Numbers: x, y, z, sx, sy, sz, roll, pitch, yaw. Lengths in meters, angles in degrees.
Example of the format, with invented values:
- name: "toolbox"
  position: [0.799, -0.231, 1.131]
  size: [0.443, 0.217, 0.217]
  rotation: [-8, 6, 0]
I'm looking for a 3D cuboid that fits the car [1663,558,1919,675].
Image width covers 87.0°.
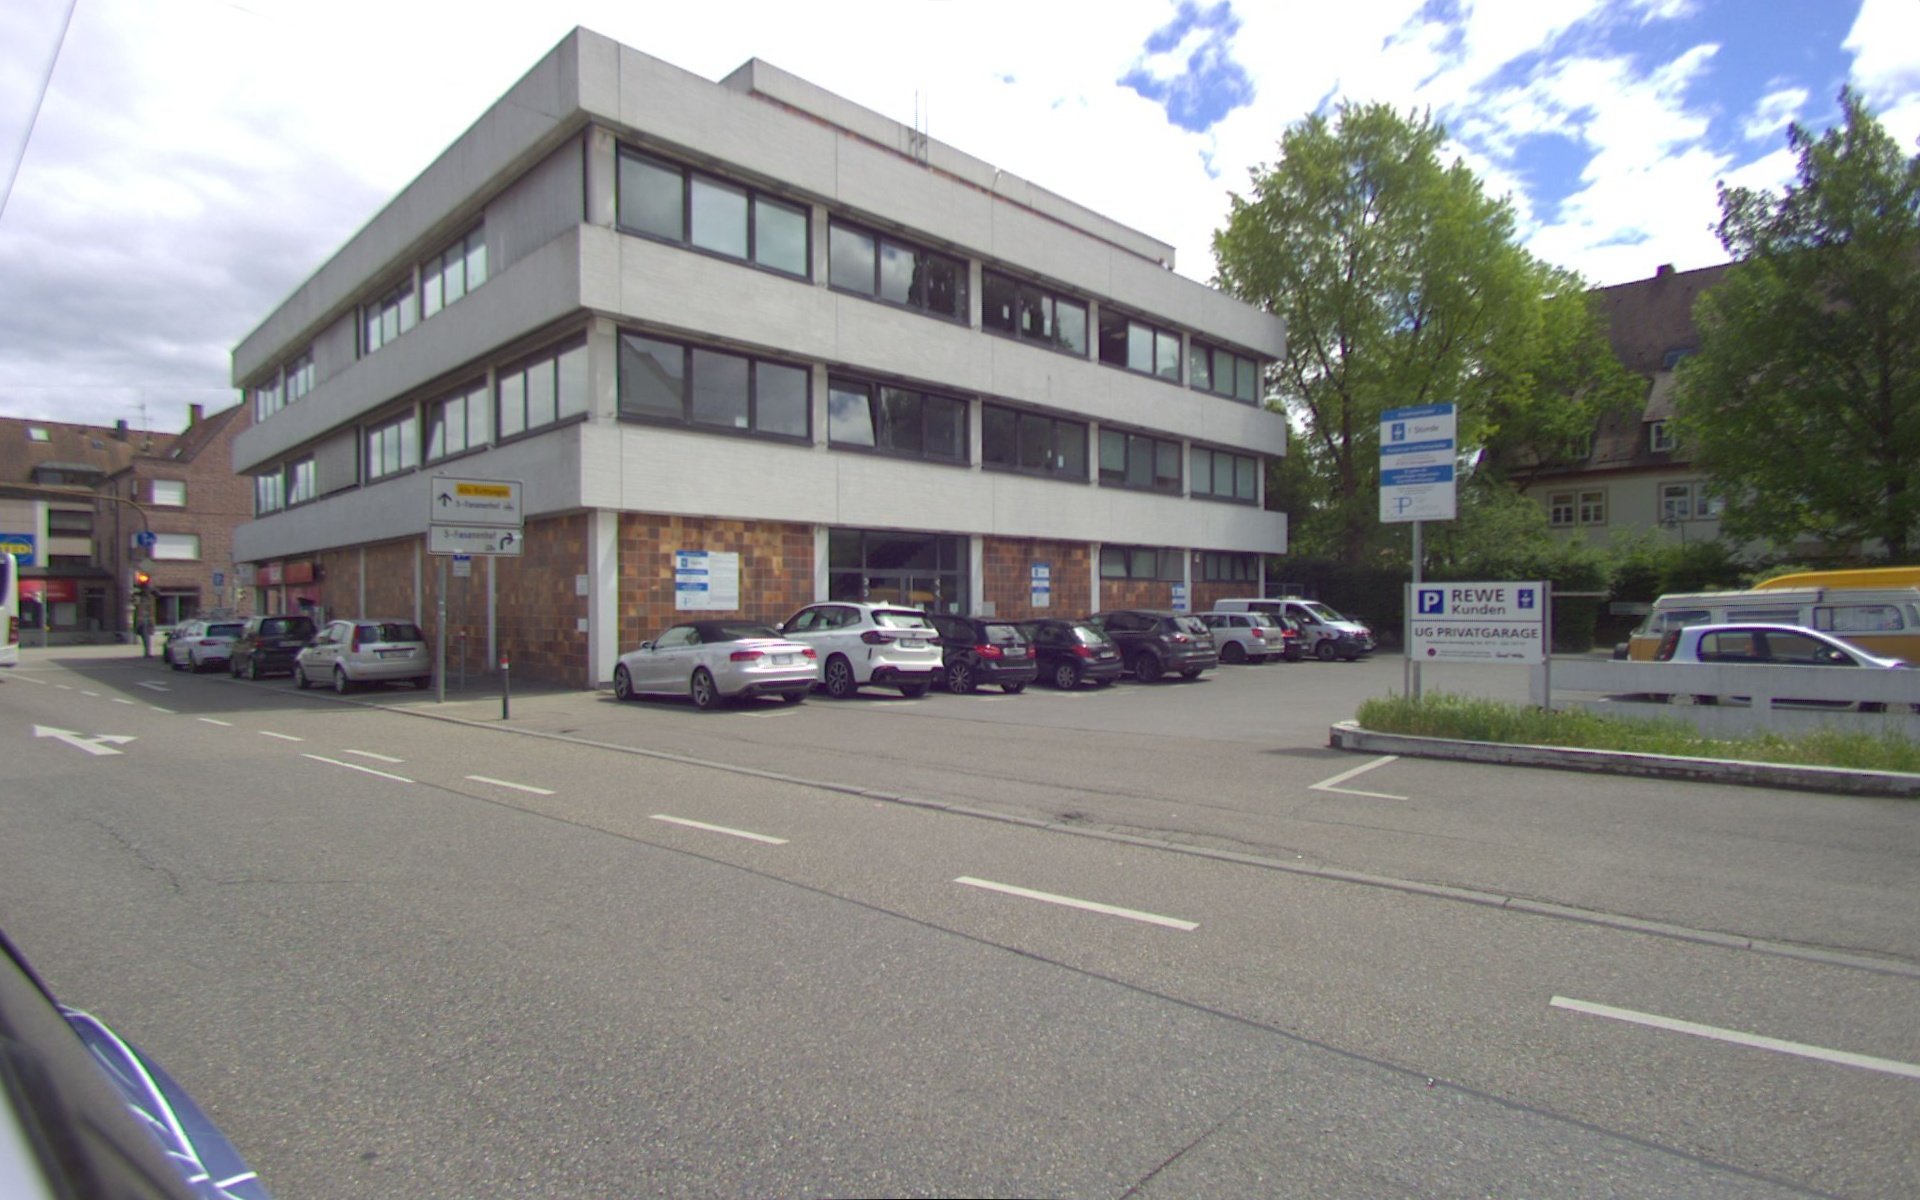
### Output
- name: "car"
  position: [20.412, 0.423, 23.950]
  size: [5.977, 2.549, 2.039]
  rotation: [-1, -3, 43]

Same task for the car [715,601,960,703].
- name: "car"
  position: [-2.386, 0.942, 18.698]
  size: [1.928, 1.632, 4.933]
  rotation: [4, -4, -43]

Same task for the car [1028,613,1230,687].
- name: "car"
  position: [3.962, 1.159, 24.305]
  size: [4.497, 1.590, 1.900]
  rotation: [-2, -2, 44]

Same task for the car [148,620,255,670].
- name: "car"
  position: [-25.055, 1.449, 33.382]
  size: [4.283, 1.486, 2.023]
  rotation: [-2, 0, 42]

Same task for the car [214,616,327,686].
- name: "car"
  position: [-17.246, 1.231, 25.269]
  size: [3.057, 1.567, 1.717]
  rotation: [-2, 0, 43]

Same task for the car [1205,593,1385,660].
- name: "car"
  position: [10.545, 0.818, 32.183]
  size: [1.945, 1.956, 5.092]
  rotation: [0, -1, -44]

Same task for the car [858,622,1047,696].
- name: "car"
  position: [-0.207, 1.138, 20.524]
  size: [3.604, 1.341, 1.744]
  rotation: [-1, -1, 42]

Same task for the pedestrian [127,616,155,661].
- name: "pedestrian"
  position: [-30.801, 1.437, 38.058]
  size: [0.682, 1.657, 0.709]
  rotation: [-2, 0, 45]

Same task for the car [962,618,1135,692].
- name: "car"
  position: [1.962, 1.196, 23.052]
  size: [3.604, 1.558, 1.744]
  rotation: [-1, -2, 42]

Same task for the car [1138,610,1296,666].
- name: "car"
  position: [7.269, 1.053, 28.841]
  size: [1.825, 1.472, 4.003]
  rotation: [0, -1, -44]

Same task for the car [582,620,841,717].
- name: "car"
  position: [-4.274, 1.033, 16.901]
  size: [4.857, 1.368, 1.929]
  rotation: [-1, -1, 44]

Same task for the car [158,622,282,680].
- name: "car"
  position: [-21.438, 1.415, 29.231]
  size: [4.953, 1.455, 2.022]
  rotation: [-2, 0, 44]

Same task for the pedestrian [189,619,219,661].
- name: "pedestrian"
  position: [-29.570, 1.553, 39.587]
  size: [0.809, 1.566, 0.846]
  rotation: [-2, 0, -45]

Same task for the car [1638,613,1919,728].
- name: "car"
  position: [12.479, 0.979, 15.159]
  size: [3.751, 1.541, 1.795]
  rotation: [-1, -1, 38]

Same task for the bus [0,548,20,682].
- name: "bus"
  position: [-26.486, 0.411, 25.762]
  size: [8.060, 3.188, 2.689]
  rotation: [-1, -1, 39]

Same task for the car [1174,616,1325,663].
- name: "car"
  position: [8.650, 1.150, 30.466]
  size: [1.825, 1.304, 4.003]
  rotation: [0, -1, -44]

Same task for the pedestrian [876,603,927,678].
- name: "pedestrian"
  position: [-1.364, 0.936, 23.585]
  size: [0.709, 1.684, 0.996]
  rotation: [2, -3, -44]

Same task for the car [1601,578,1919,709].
- name: "car"
  position: [13.953, 0.703, 17.415]
  size: [4.649, 2.004, 1.817]
  rotation: [-1, -1, 44]

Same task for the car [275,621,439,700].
- name: "car"
  position: [-12.567, 1.186, 20.988]
  size: [4.146, 1.433, 1.704]
  rotation: [-2, 0, 41]
